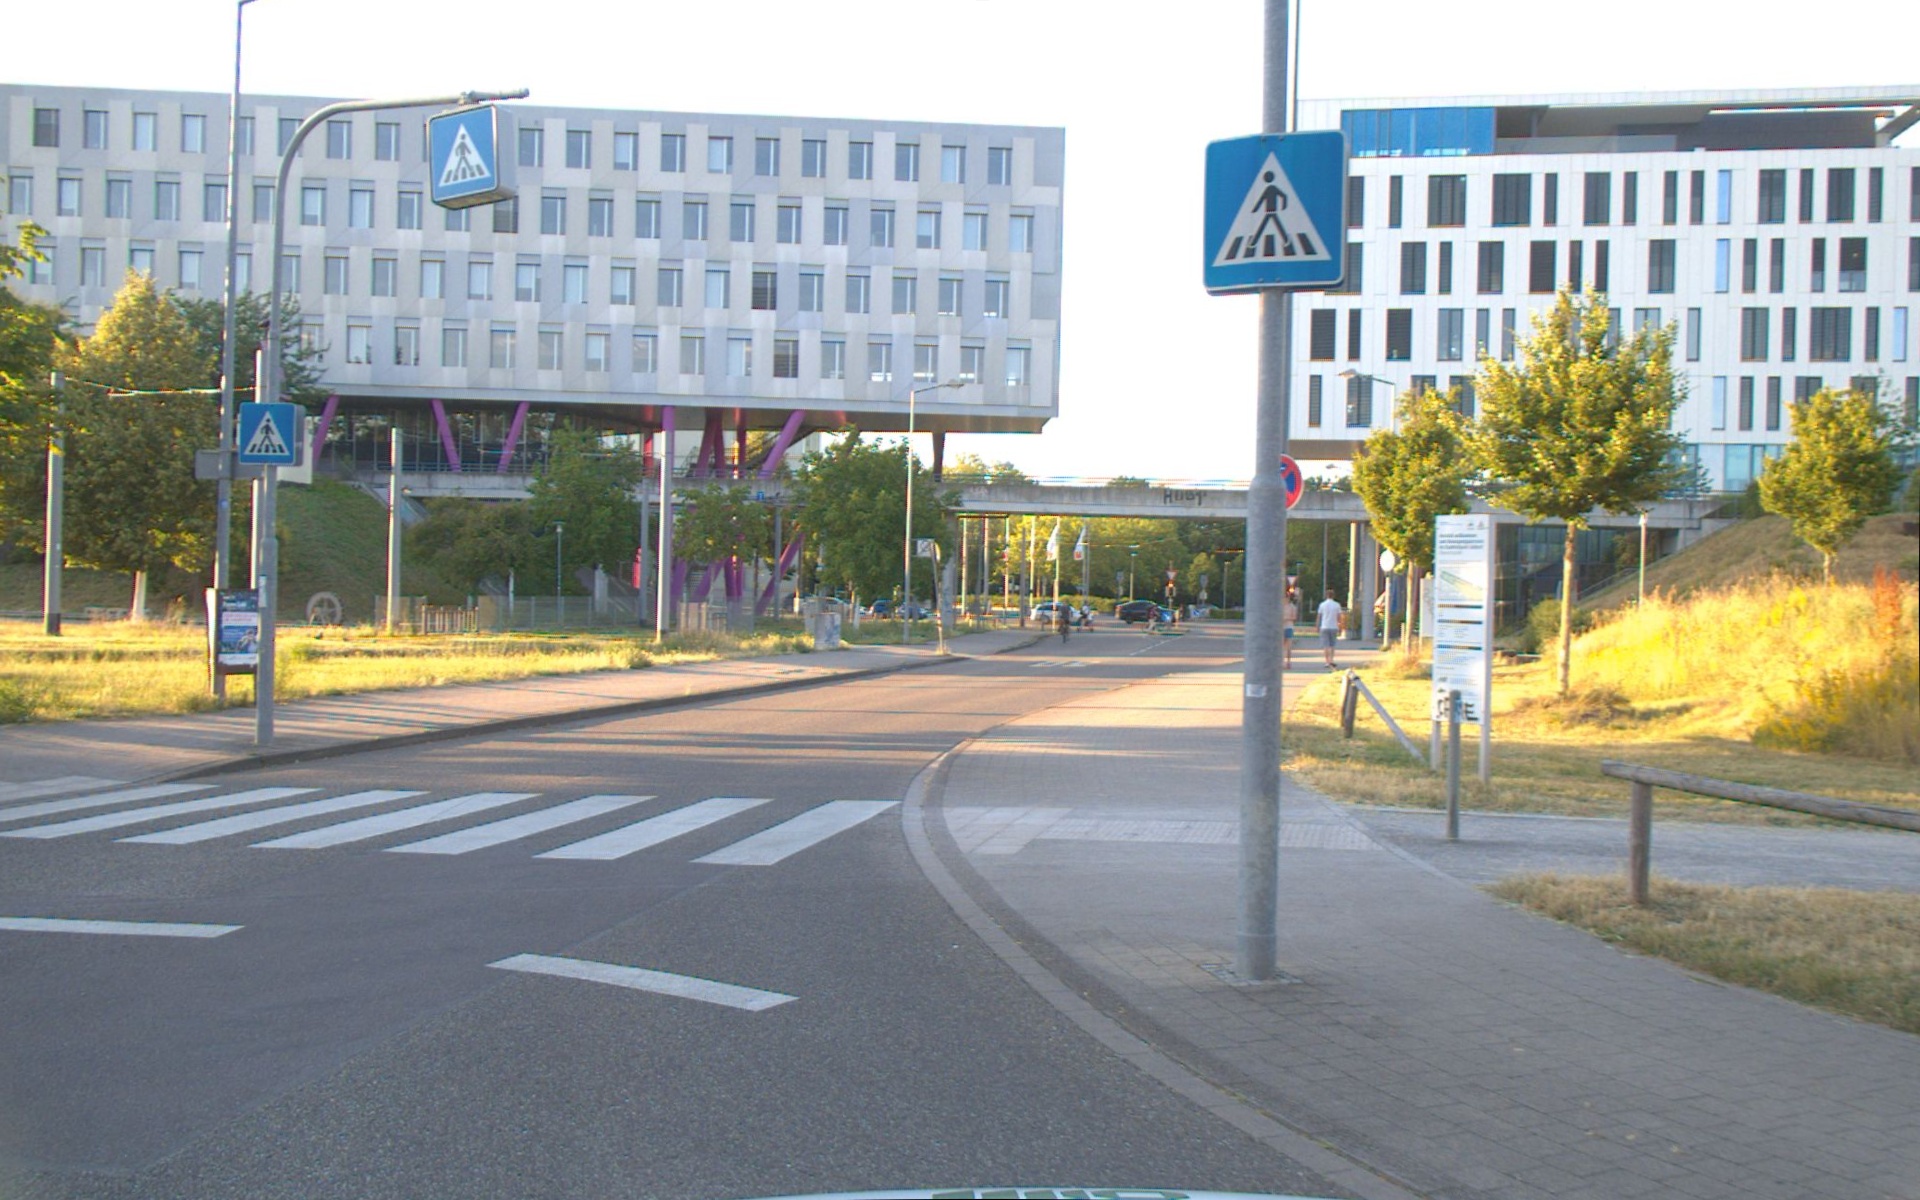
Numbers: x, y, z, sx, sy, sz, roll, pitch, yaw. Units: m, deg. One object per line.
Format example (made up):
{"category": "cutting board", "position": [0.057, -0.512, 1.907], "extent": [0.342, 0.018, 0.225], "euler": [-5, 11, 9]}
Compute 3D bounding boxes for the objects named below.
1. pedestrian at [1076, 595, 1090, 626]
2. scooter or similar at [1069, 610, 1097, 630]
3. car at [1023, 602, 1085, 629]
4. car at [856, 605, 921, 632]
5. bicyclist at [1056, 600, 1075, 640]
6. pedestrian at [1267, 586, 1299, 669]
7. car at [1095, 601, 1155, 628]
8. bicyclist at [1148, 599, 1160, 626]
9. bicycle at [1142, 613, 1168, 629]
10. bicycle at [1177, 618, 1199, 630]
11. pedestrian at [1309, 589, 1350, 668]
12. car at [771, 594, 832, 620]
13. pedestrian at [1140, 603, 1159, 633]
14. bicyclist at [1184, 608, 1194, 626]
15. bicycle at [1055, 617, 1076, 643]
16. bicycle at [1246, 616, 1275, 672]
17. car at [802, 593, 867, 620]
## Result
{"category": "pedestrian", "position": [8.034, 0.686, 107.948], "extent": [0.890, 2.025, 0.772], "euler": [1, 1, 2]}
{"category": "scooter or similar", "position": [8.014, 1.306, 107.940], "extent": [1.821, 1.194, 0.764], "euler": [1, 1, 2]}
{"category": "car", "position": [6.793, 1.104, 119.564], "extent": [4.319, 1.754, 1.836], "euler": [1, 1, 8]}
{"category": "car", "position": [-5.206, 1.338, 120.558], "extent": [4.616, 1.860, 1.893], "euler": [1, 1, 1]}
{"category": "bicyclist", "position": [4.534, 0.842, 71.141], "extent": [0.601, 1.691, 1.037], "euler": [1, 1, 15]}
{"category": "pedestrian", "position": [7.330, 0.619, 37.491], "extent": [0.582, 1.833, 0.818], "euler": [1, 1, 17]}
{"category": "car", "position": [12.436, 1.098, 124.849], "extent": [4.319, 1.830, 1.836], "euler": [1, 1, 11]}
{"category": "bicyclist", "position": [12.586, 0.825, 107.137], "extent": [0.750, 1.734, 0.513], "euler": [1, 1, 7]}
{"category": "bicycle", "position": [12.617, 1.372, 107.143], "extent": [1.657, 0.965, 0.512], "euler": [1, 1, 7]}
{"category": "bicycle", "position": [21.621, 2.298, 156.849], "extent": [1.930, 1.148, 0.558], "euler": [1, 1, -16]}
{"category": "pedestrian", "position": [8.616, 0.655, 38.554], "extent": [0.814, 1.797, 0.818], "euler": [1, 1, 17]}
{"category": "car", "position": [-12.501, 0.533, 130.426], "extent": [4.372, 1.848, 1.947], "euler": [1, 1, 9]}
{"category": "pedestrian", "position": [11.951, 1.142, 104.206], "extent": [1.032, 1.866, 0.895], "euler": [1, 1, -3]}
{"category": "bicyclist", "position": [21.692, 1.609, 156.855], "extent": [0.744, 1.753, 0.550], "euler": [1, 1, -15]}
{"category": "bicycle", "position": [4.536, 1.276, 71.161], "extent": [0.527, 1.061, 1.926], "euler": [1, 1, 15]}
{"category": "bicycle", "position": [6.860, 0.990, 37.719], "extent": [0.440, 1.189, 1.942], "euler": [1, 1, 16]}
{"category": "car", "position": [-9.433, 0.499, 124.453], "extent": [4.587, 1.860, 1.836], "euler": [1, 1, 11]}
